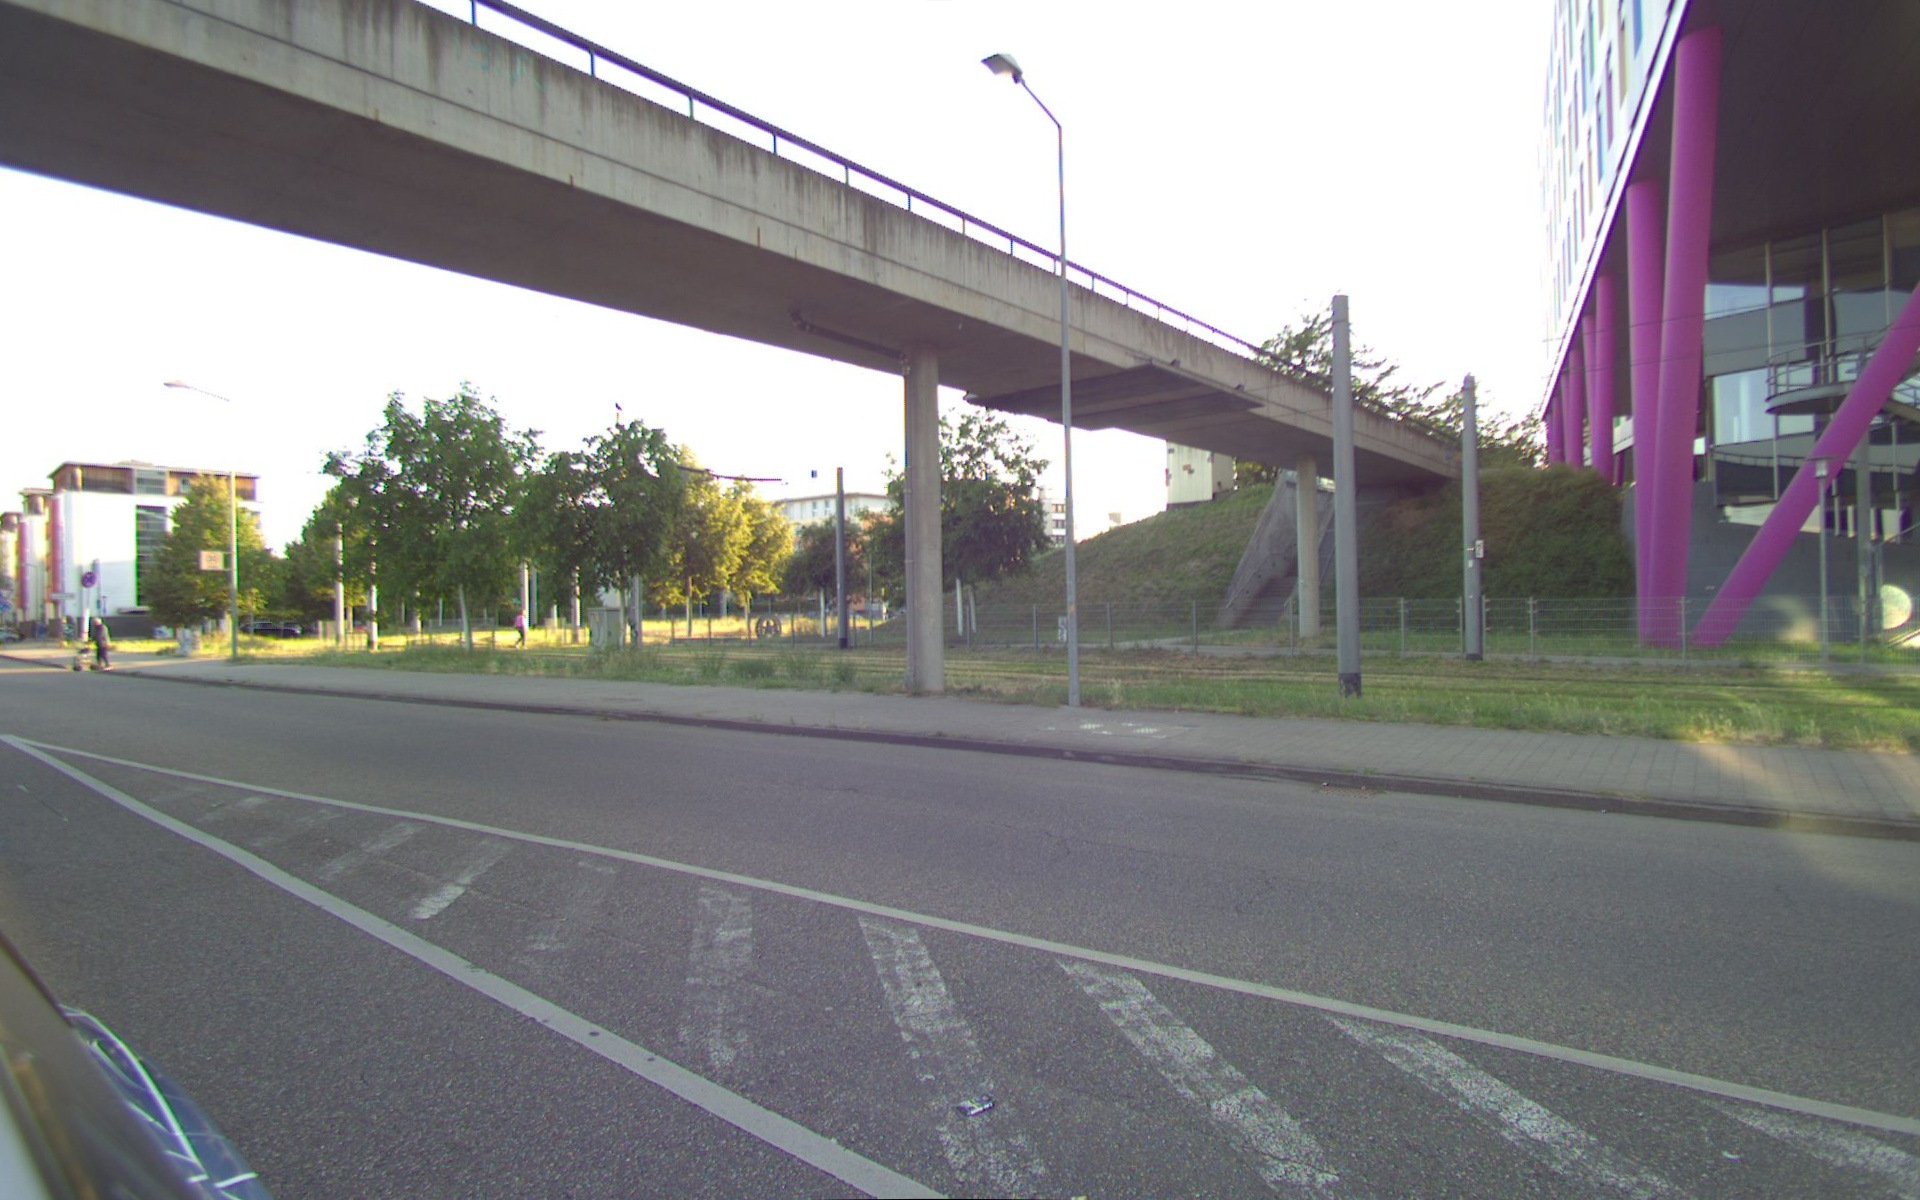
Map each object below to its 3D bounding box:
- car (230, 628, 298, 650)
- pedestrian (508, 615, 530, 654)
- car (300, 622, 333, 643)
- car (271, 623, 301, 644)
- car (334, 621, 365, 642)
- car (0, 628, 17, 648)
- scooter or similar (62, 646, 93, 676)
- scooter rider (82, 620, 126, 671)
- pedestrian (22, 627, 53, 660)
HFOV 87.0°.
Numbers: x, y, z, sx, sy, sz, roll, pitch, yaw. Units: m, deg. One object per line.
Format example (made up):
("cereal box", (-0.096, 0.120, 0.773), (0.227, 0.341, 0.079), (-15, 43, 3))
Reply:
("car", (-53.866, 2.996, 78.360), (1.999, 1.575, 3.946), (-2, -1, 41))
("pedestrian", (-18.407, 1.432, 42.255), (0.767, 1.623, 0.417), (-1, -1, -38))
("car", (-55.373, 2.779, 87.061), (1.843, 1.734, 3.851), (-1, -1, -40))
("car", (-57.036, 2.807, 85.595), (1.842, 1.734, 3.853), (-1, -1, -38))
("car", (-53.574, 2.754, 88.785), (1.842, 1.734, 3.853), (-1, -1, -38))
("car", (-80.761, 3.168, 83.415), (1.839, 1.571, 4.330), (-1, 0, 42))
("scooter or similar", (-27.580, 1.896, 31.642), (0.720, 0.902, 0.547), (0, -1, 33))
("scooter rider", (-27.227, 1.440, 32.187), (0.709, 1.589, 0.888), (-2, -1, 33))
("pedestrian", (-57.985, 2.719, 63.612), (1.072, 2.029, 1.143), (-1, 0, -21))
